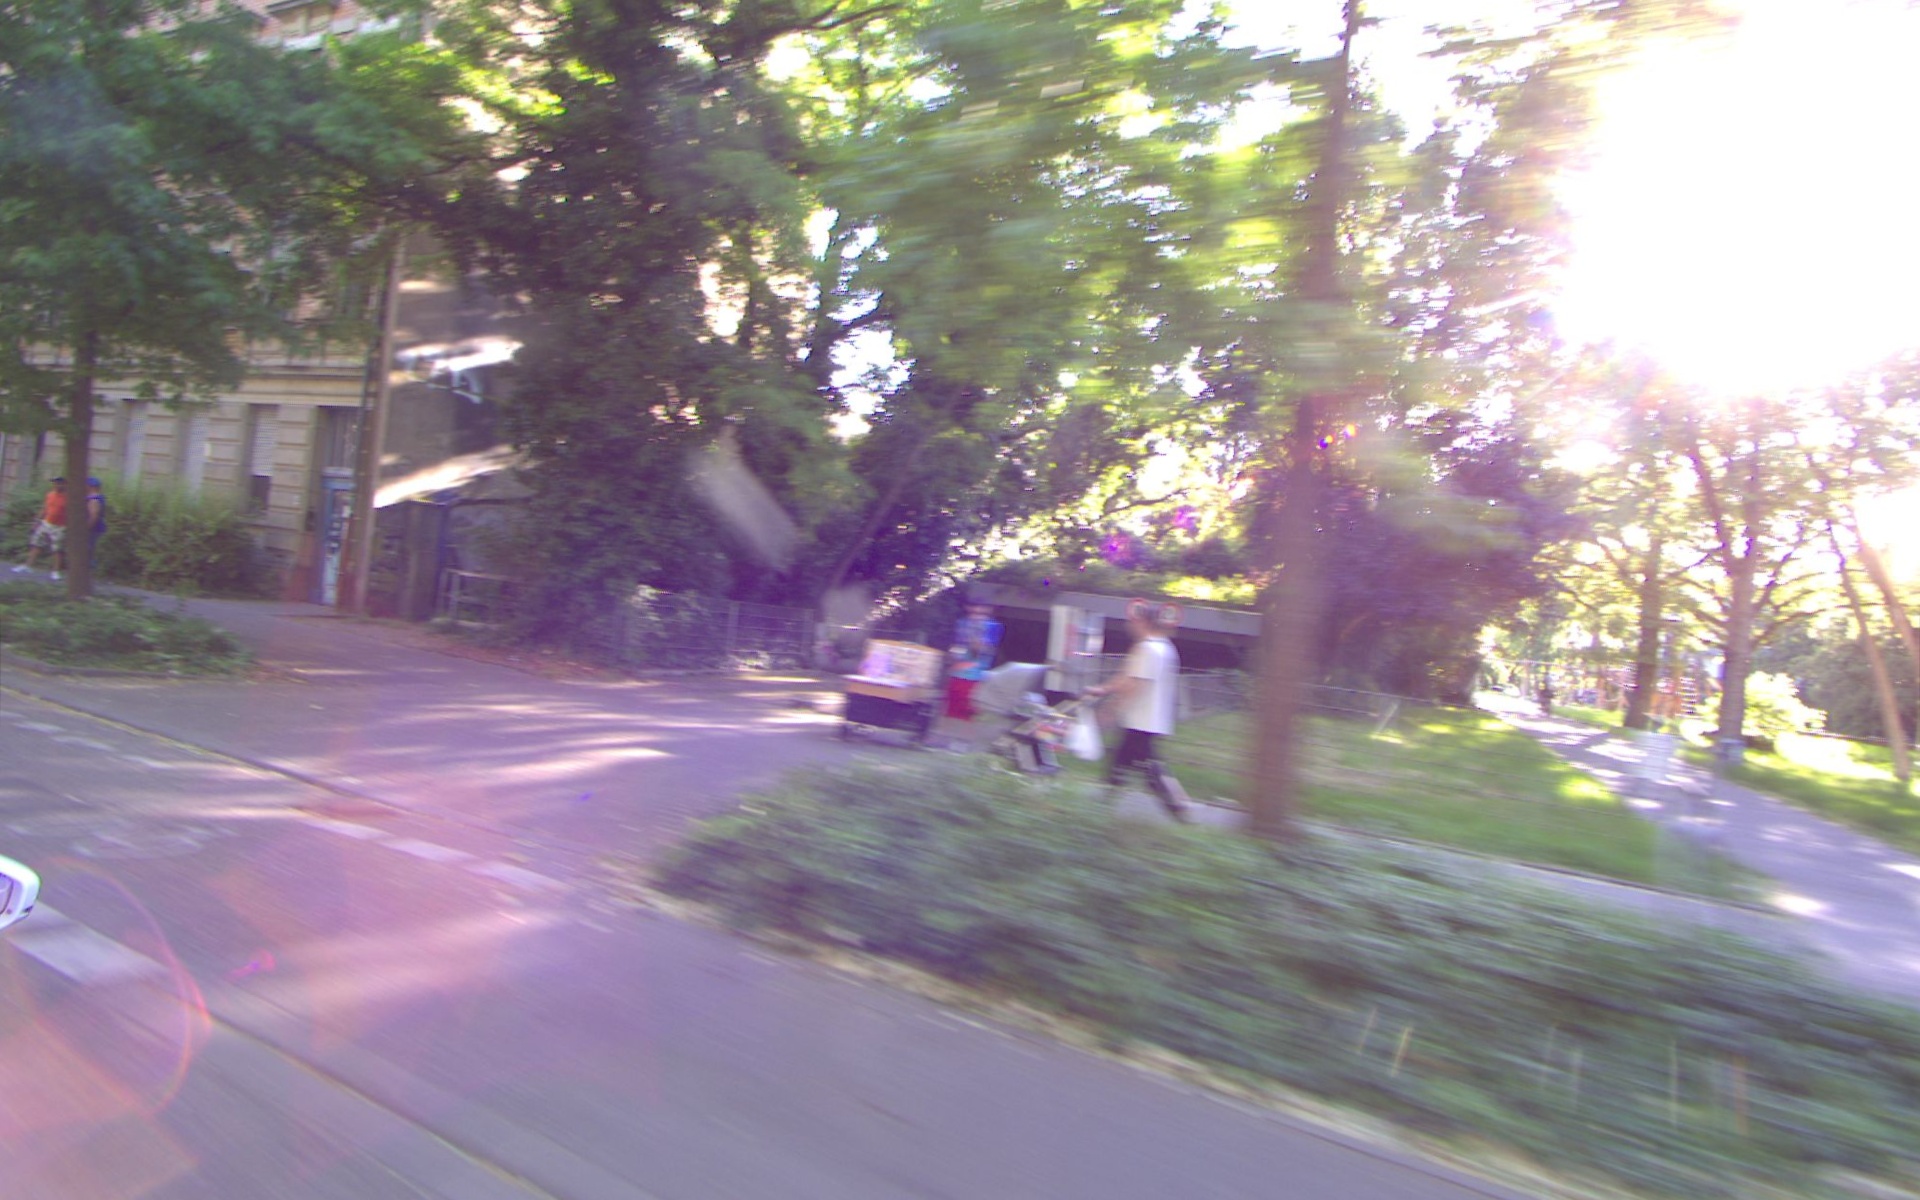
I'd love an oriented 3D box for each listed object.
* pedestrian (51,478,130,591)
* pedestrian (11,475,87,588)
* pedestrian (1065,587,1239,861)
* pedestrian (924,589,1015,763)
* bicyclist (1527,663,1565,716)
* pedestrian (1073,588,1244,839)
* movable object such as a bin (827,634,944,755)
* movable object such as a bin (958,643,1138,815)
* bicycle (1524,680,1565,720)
[{"bbox_3d":[-14.869,-1.117,17.217,0.715,1.814,0.600,7,-1,23],"label":"pedestrian"},{"bbox_3d":[-15.620,-1.154,17.268,0.593,1.814,0.724,7,-1,-24],"label":"pedestrian"},{"bbox_3d":[1.414,0.870,7.408,0.840,1.816,0.725,7,2,37],"label":"pedestrian"},{"bbox_3d":[0.106,0.811,10.728,0.545,1.746,0.619,7,-1,29],"label":"pedestrian"},{"bbox_3d":[21.173,3.234,36.394,0.919,1.765,1.068,7,-1,25],"label":"bicyclist"},{"bbox_3d":[1.600,0.872,8.131,0.953,1.816,0.725,7,2,37],"label":"pedestrian"},{"bbox_3d":[-0.793,0.999,10.807,0.939,1.139,0.668,7,-1,19],"label":"movable object such as a bin"},{"bbox_3d":[0.742,1.065,8.644,1.285,1.218,0.638,7,2,37],"label":"movable object such as a bin"},{"bbox_3d":[21.162,3.626,36.469,0.919,1.280,2.690,7,-2,25],"label":"bicycle"}]
